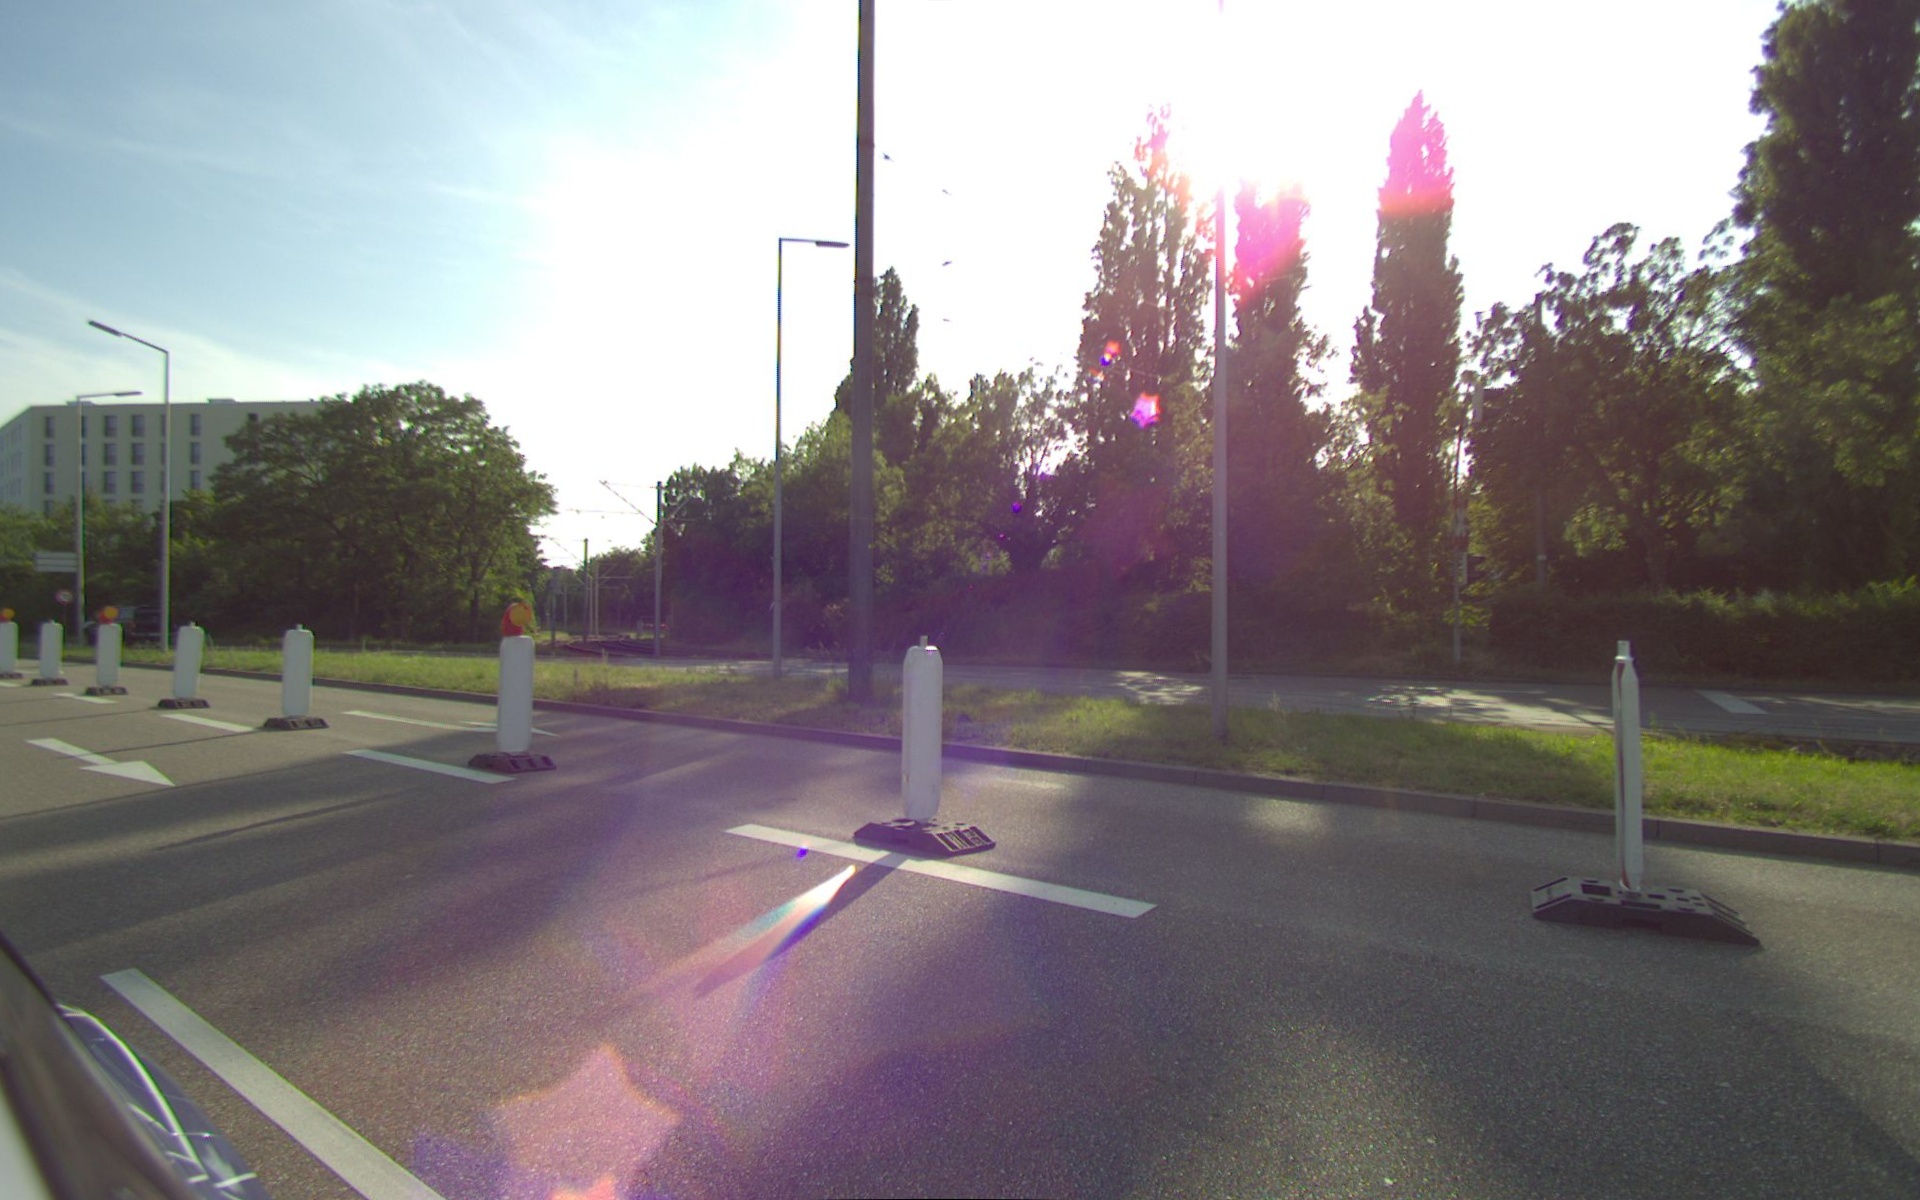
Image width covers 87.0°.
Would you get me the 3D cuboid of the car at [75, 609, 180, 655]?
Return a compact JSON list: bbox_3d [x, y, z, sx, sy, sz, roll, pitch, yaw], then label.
[{"bbox_3d":[-38.452,1.470,46.731,5.336,2.029,1.980,-1,-2,30],"label":"car"}]
